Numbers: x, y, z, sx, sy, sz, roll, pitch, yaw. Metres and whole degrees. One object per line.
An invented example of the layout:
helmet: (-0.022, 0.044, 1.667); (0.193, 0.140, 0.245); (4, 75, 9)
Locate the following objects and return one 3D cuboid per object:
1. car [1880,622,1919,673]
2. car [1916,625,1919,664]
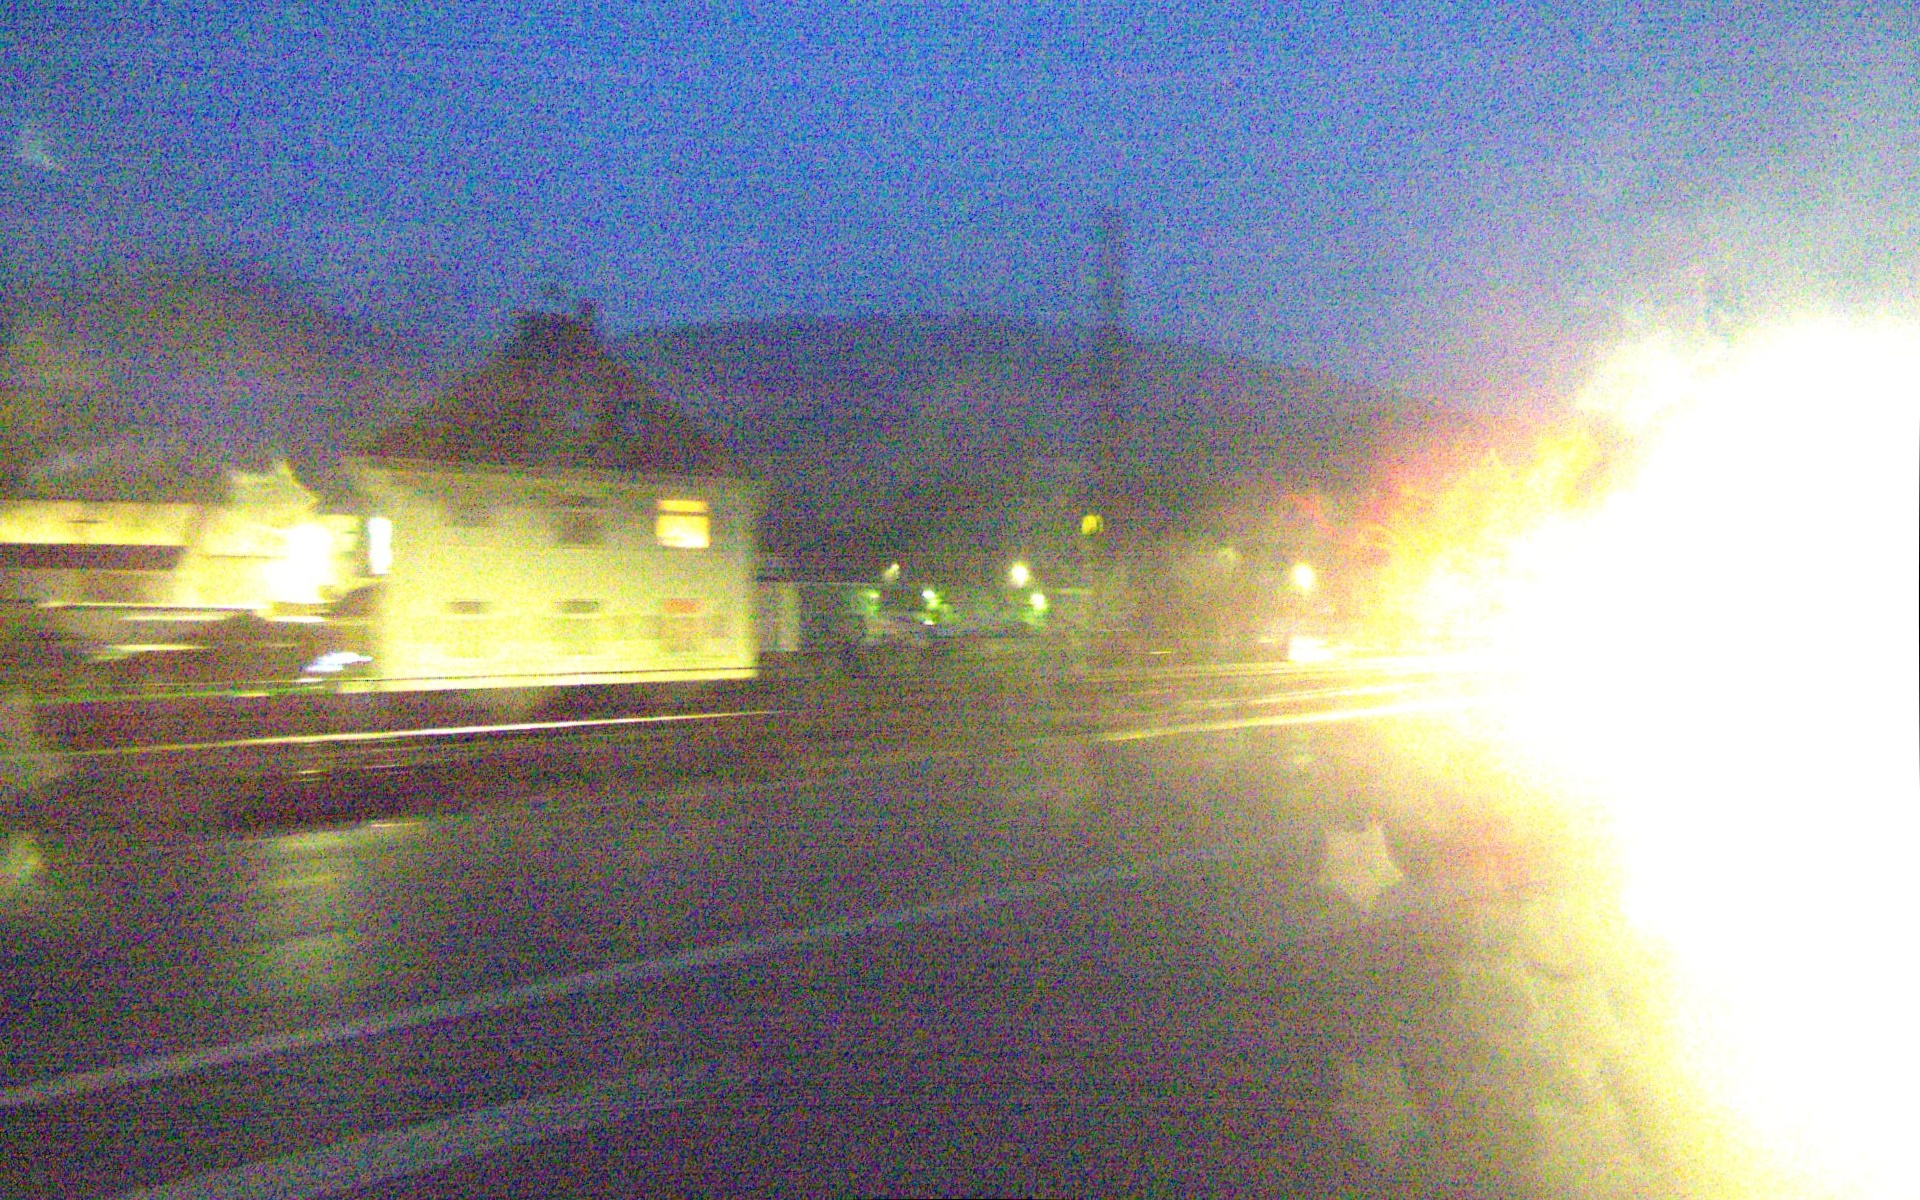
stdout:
car: (32.601, 1.612, 33.787); (3.867, 1.621, 1.866); (2, 0, -39)
car: (45.680, 2.092, 46.019); (4.487, 1.768, 2.180); (2, 0, -40)
